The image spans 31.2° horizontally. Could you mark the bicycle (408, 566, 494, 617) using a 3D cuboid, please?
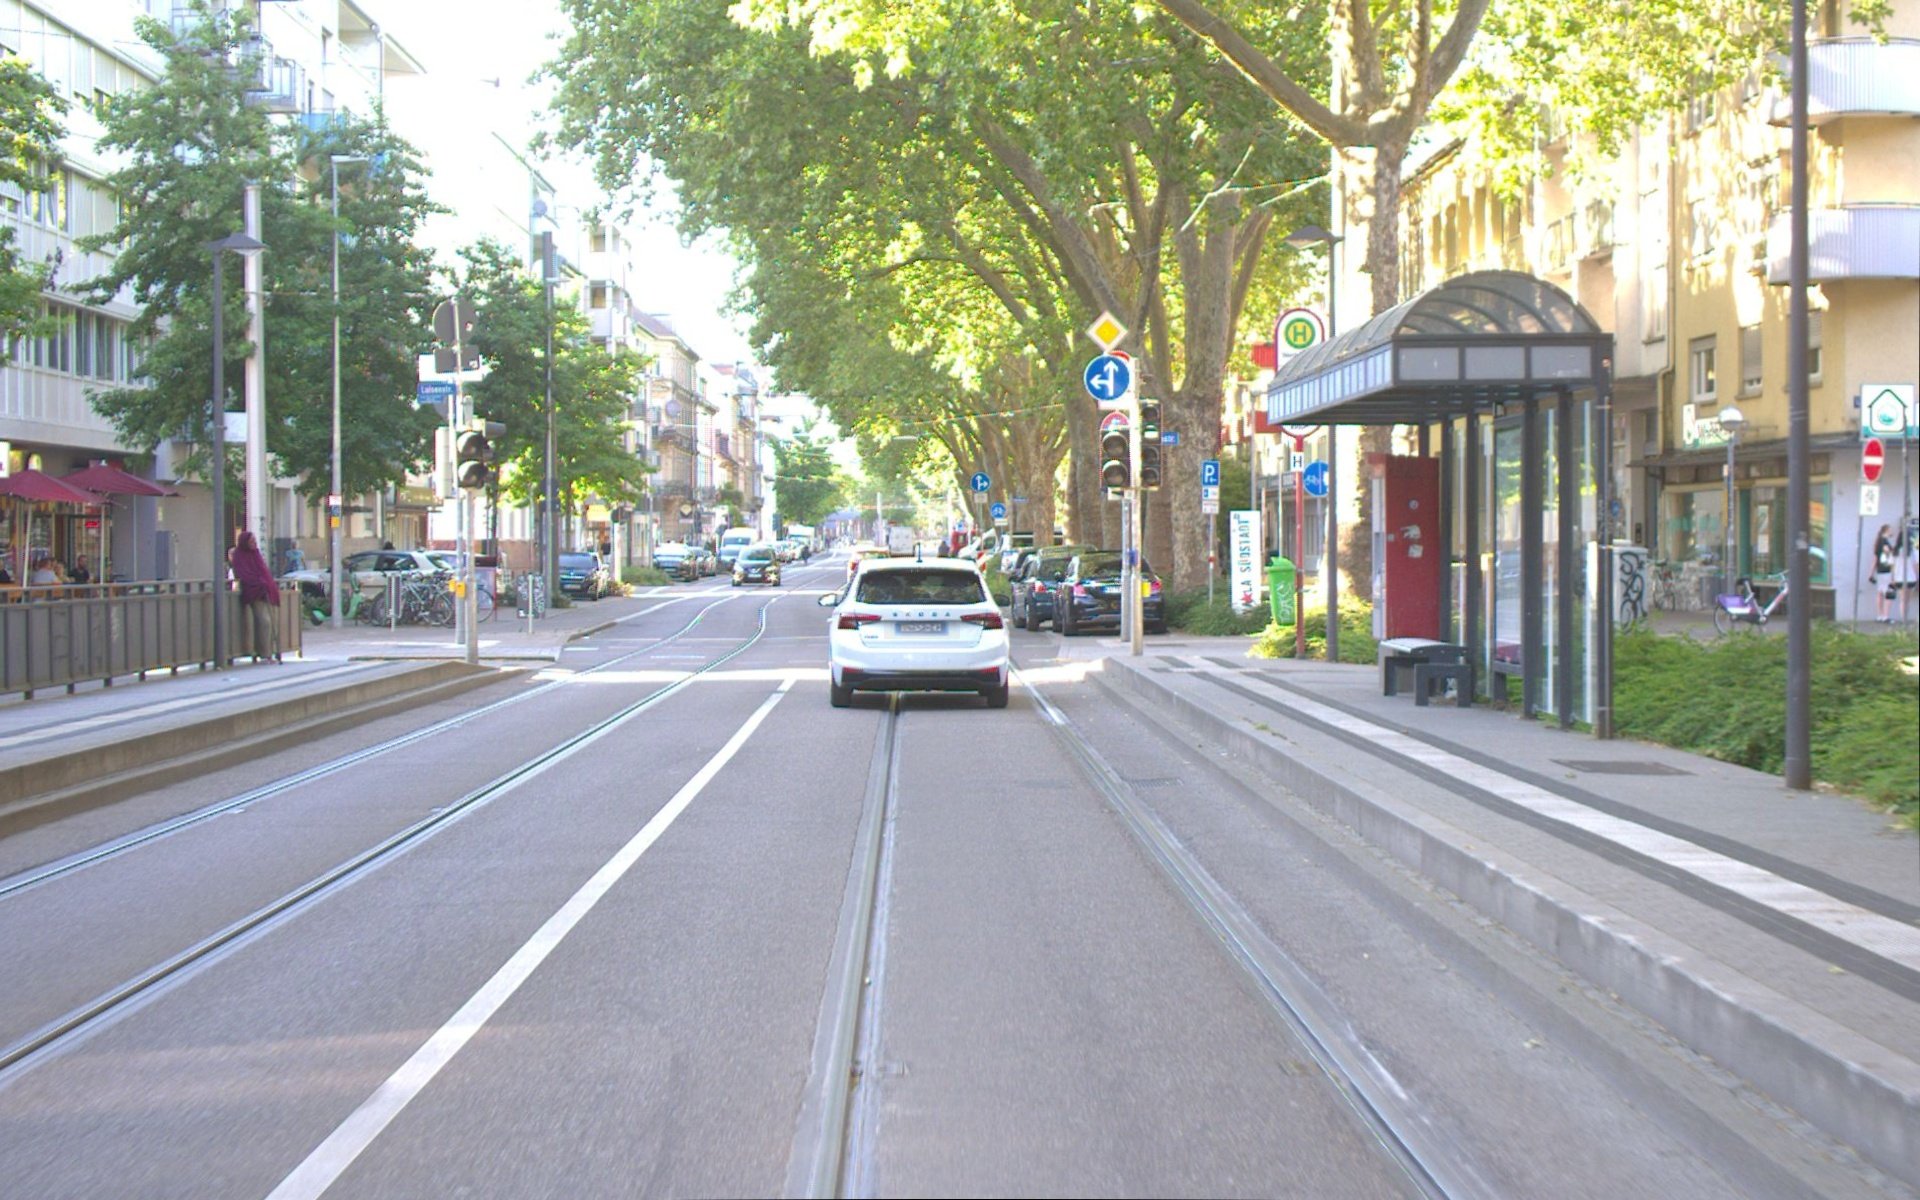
[{"bbox_3d":[-10.321,-0.178,69.767,1.690,1.003,0.658,1,0,-5],"label":"bicycle"}]

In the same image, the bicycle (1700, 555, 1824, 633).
[{"bbox_3d":[12.742,-0.099,54.627,1.791,1.153,0.746,-2,1,-22],"label":"bicycle"}]

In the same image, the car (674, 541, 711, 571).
[{"bbox_3d":[-13.249,-2.200,170.459,1.653,1.432,3.837,0,1,-2],"label":"car"}]

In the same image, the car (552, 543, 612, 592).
[{"bbox_3d":[-12.064,-1.043,109.977,1.713,1.459,4.378,3,1,-5],"label":"car"}]

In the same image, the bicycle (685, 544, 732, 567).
[{"bbox_3d":[-13.751,-2.418,188.175,2.524,1.168,0.719,2,-1,-7],"label":"bicycle"}]

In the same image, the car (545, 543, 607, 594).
[{"bbox_3d":[-11.775,-0.984,105.193,1.713,1.459,4.001,3,1,-8],"label":"car"}]

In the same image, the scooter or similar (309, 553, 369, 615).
[{"bbox_3d":[-12.028,-0.315,66.605,1.079,1.172,0.498,1,0,-2],"label":"scooter or similar"}]

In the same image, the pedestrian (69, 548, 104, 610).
[{"bbox_3d":[-16.874,-0.405,66.423,0.511,1.194,0.564,-1,1,-30],"label":"pedestrian"}]

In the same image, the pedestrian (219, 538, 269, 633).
[{"bbox_3d":[-11.903,-0.246,57.144,0.725,1.551,0.769,-1,1,-6],"label":"pedestrian"}]

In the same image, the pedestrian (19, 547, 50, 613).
[{"bbox_3d":[-16.831,-0.371,62.487,0.511,1.194,0.564,-1,1,-17],"label":"pedestrian"}]

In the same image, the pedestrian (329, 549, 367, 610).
[{"bbox_3d":[-13.132,-0.444,73.763,0.712,1.293,0.748,-1,1,-15],"label":"pedestrian"}]

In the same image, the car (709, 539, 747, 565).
[{"bbox_3d":[-13.455,-2.794,199.323,1.993,1.525,4.000,0,1,-1],"label":"car"}]

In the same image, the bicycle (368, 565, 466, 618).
[{"bbox_3d":[-10.520,-0.171,66.633,1.829,1.003,0.658,1,0,-5],"label":"bicycle"}]

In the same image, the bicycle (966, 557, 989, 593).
[{"bbox_3d":[0.537,-0.779,105.332,0.681,1.067,1.781,-1,1,0],"label":"bicycle"}]

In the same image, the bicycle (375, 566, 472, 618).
[{"bbox_3d":[-10.499,-0.156,67.280,1.829,1.003,0.658,1,0,-5],"label":"bicycle"}]

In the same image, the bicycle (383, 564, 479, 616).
[{"bbox_3d":[-10.521,-0.196,68.412,1.829,1.003,0.658,1,0,-5],"label":"bicycle"}]

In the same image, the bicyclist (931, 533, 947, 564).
[{"bbox_3d":[-0.917,-2.246,149.591,0.649,1.339,0.934,-1,1,-3],"label":"bicyclist"}]

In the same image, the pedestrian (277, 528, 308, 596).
[{"bbox_3d":[-16.689,-0.947,85.957,0.663,1.685,0.749,0,1,-2],"label":"pedestrian"}]

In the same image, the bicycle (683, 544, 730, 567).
[{"bbox_3d":[-13.800,-2.407,187.293,2.525,1.168,0.883,2,-1,-40],"label":"bicycle"}]

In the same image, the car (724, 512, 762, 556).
[{"bbox_3d":[-14.504,-4.406,229.693,2.342,2.851,4.000,0,1,-1],"label":"car"}]

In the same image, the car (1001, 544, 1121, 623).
[{"bbox_3d":[1.907,-0.338,66.060,1.864,1.432,4.227,-1,1,-4],"label":"car"}]

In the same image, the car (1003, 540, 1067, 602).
[{"bbox_3d":[1.928,-0.739,87.987,1.564,1.514,2.910,-2,0,1],"label":"car"}]

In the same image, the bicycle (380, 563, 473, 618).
[{"bbox_3d":[-10.031,-0.177,64.712,1.690,1.003,0.658,1,0,-5],"label":"bicycle"}]

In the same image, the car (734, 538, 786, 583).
[{"bbox_3d":[-7.629,-1.519,131.317,1.871,1.584,4.147,2,1,-2],"label":"car"}]

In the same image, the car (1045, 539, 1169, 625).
[{"bbox_3d":[2.568,-0.355,61.071,1.764,1.457,5.013,0,1,-2],"label":"car"}]

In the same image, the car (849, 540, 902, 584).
[{"bbox_3d":[-2.911,-1.328,118.185,1.761,1.470,4.000,-1,1,-1],"label":"car"}]

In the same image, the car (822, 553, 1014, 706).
[{"bbox_3d":[-0.460,0.245,33.809,1.761,1.379,4.001,-1,1,-2],"label":"car"}]

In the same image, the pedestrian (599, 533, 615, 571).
[{"bbox_3d":[-16.883,-2.279,164.379,0.663,1.820,0.965,0,1,-2],"label":"pedestrian"}]

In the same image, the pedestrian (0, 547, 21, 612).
[{"bbox_3d":[-17.542,-0.374,62.831,0.562,1.194,0.513,-1,1,-36],"label":"pedestrian"}]

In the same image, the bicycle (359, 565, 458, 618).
[{"bbox_3d":[-10.605,-0.168,66.192,1.829,1.003,0.658,1,0,-5],"label":"bicycle"}]

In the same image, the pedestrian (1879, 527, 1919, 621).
[{"bbox_3d":[15.654,-0.432,56.764,0.702,1.533,0.689,0,1,40],"label":"pedestrian"}]

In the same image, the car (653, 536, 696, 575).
[{"bbox_3d":[-12.827,-2.004,154.805,1.702,1.645,4.242,2,1,-2],"label":"car"}]

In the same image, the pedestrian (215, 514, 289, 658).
[{"bbox_3d":[-7.843,-0.158,38.096,0.654,1.579,0.772,0,1,0],"label":"pedestrian"}]

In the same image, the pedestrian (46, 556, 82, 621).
[{"bbox_3d":[-16.722,-0.216,64.179,0.511,1.194,0.564,-1,1,1],"label":"pedestrian"}]

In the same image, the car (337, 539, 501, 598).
[{"bbox_3d":[-13.932,-0.809,88.705,4.012,1.470,1.852,1,0,-3],"label":"car"}]

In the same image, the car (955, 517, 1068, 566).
[{"bbox_3d":[2.823,-3.215,189.554,6.129,2.626,2.529,0,1,-2],"label":"car"}]

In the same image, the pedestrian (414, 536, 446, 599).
[{"bbox_3d":[-14.156,-0.866,91.807,0.763,1.685,0.795,0,1,-2],"label":"pedestrian"}]

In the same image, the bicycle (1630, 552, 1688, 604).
[{"bbox_3d":[13.661,-0.438,67.216,0.570,0.993,1.781,-2,1,-5],"label":"bicycle"}]

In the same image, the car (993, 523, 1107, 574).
[{"bbox_3d":[3.715,-2.140,142.573,4.543,2.069,2.001,0,1,-3],"label":"car"}]

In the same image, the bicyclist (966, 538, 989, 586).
[{"bbox_3d":[0.534,-1.162,105.246,0.678,1.438,1.047,-1,1,0],"label":"bicyclist"}]

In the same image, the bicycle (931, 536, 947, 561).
[{"bbox_3d":[-0.911,-2.246,149.579,0.649,1.067,1.583,-1,1,-3],"label":"bicycle"}]

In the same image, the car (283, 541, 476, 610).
[{"bbox_3d":[-12.998,-0.546,77.124,4.012,1.470,1.852,1,0,0],"label":"car"}]

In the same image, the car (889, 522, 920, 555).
[{"bbox_3d":[-4.059,-4.530,251.927,2.202,2.379,4.000,0,1,-1],"label":"car"}]
